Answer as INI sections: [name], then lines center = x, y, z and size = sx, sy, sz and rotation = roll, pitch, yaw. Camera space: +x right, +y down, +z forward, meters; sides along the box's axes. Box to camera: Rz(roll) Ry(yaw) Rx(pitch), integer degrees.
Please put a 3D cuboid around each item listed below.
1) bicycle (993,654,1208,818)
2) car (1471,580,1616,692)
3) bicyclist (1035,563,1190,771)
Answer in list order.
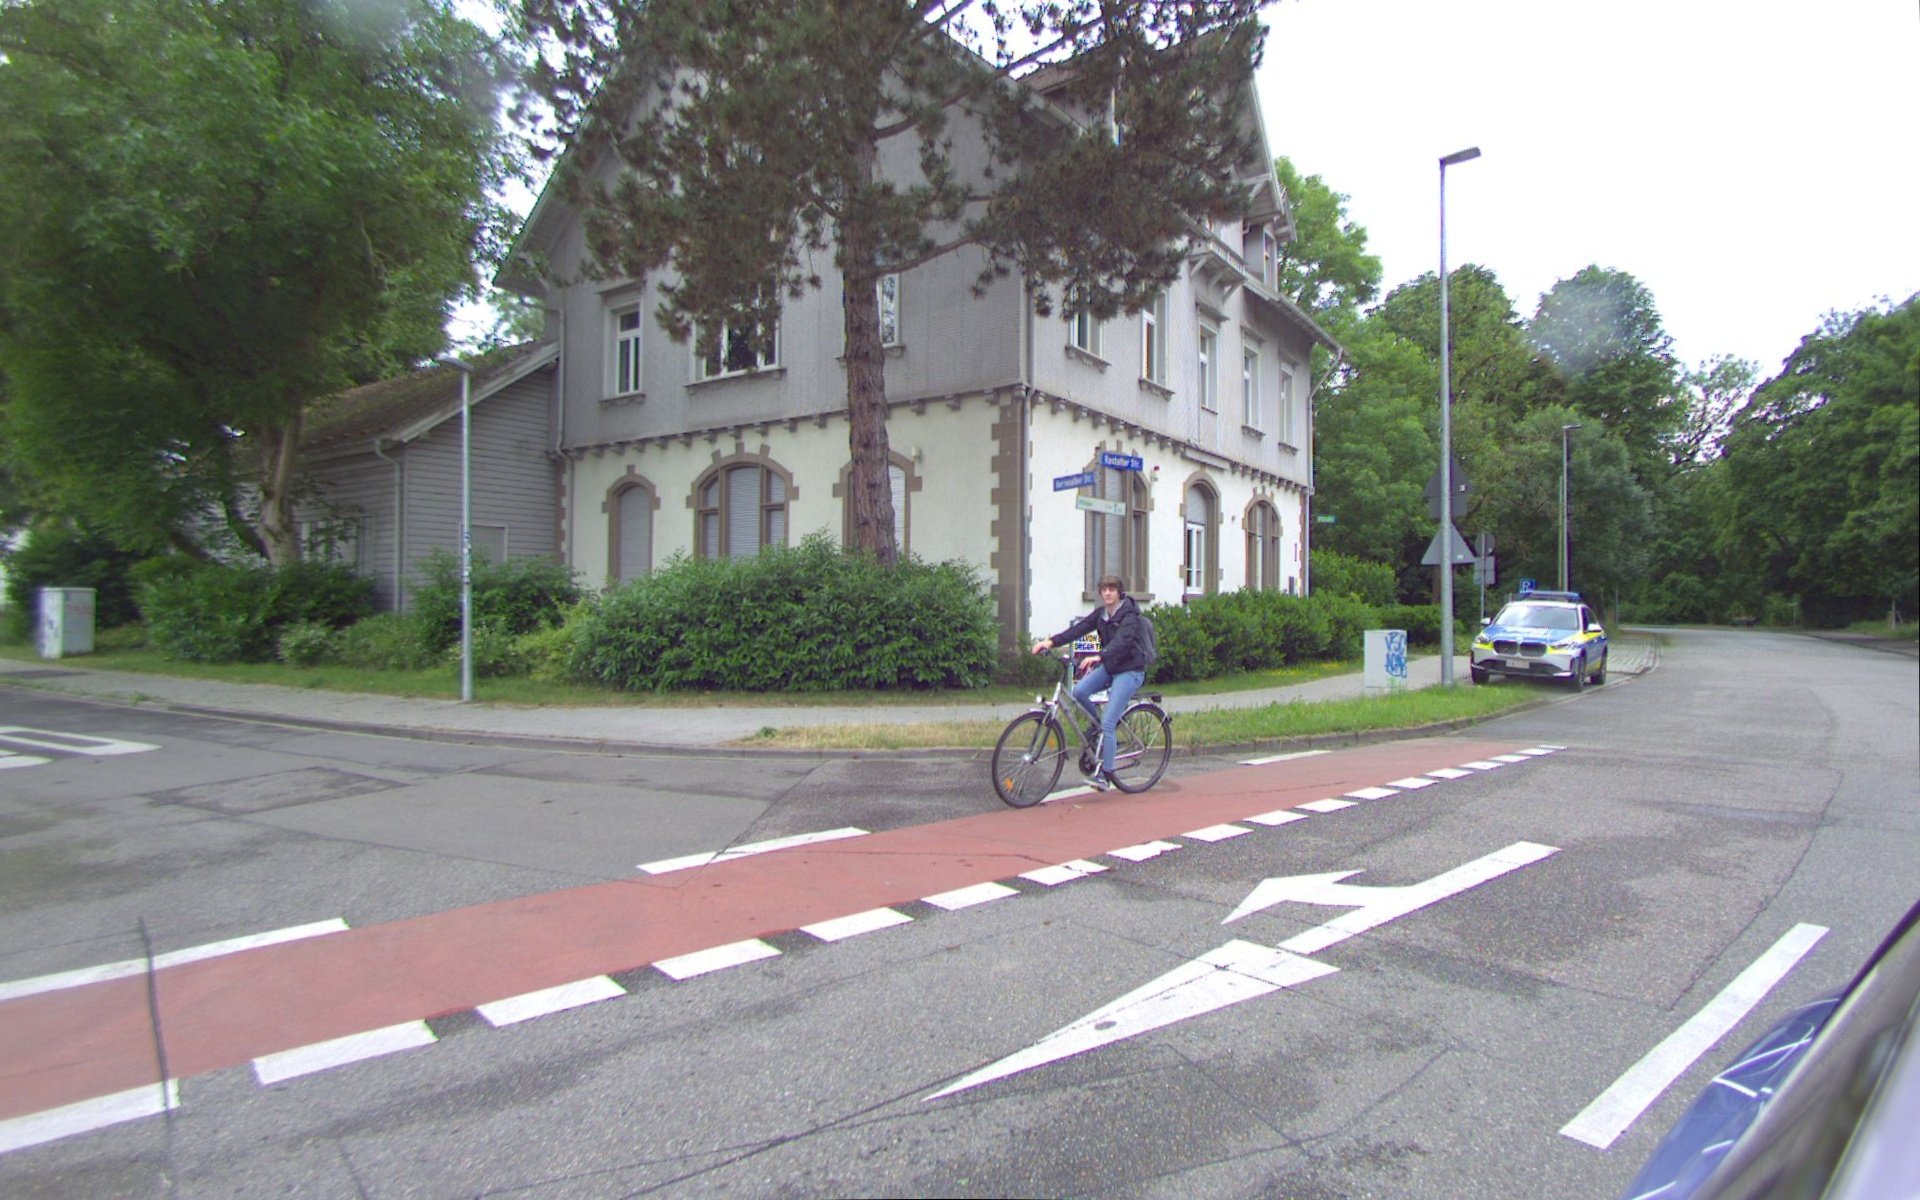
[bicycle]
center = 1.110, 0.958, 7.615
size = 1.994, 0.993, 0.383
rotation = -1, 0, -41
[car]
center = 11.308, 0.613, 19.499
size = 1.926, 1.873, 3.947
rotation = 3, 1, 37
[bicyclist]
center = 1.145, 0.479, 7.579
size = 0.945, 1.443, 0.622
rotation = 0, -4, -41
